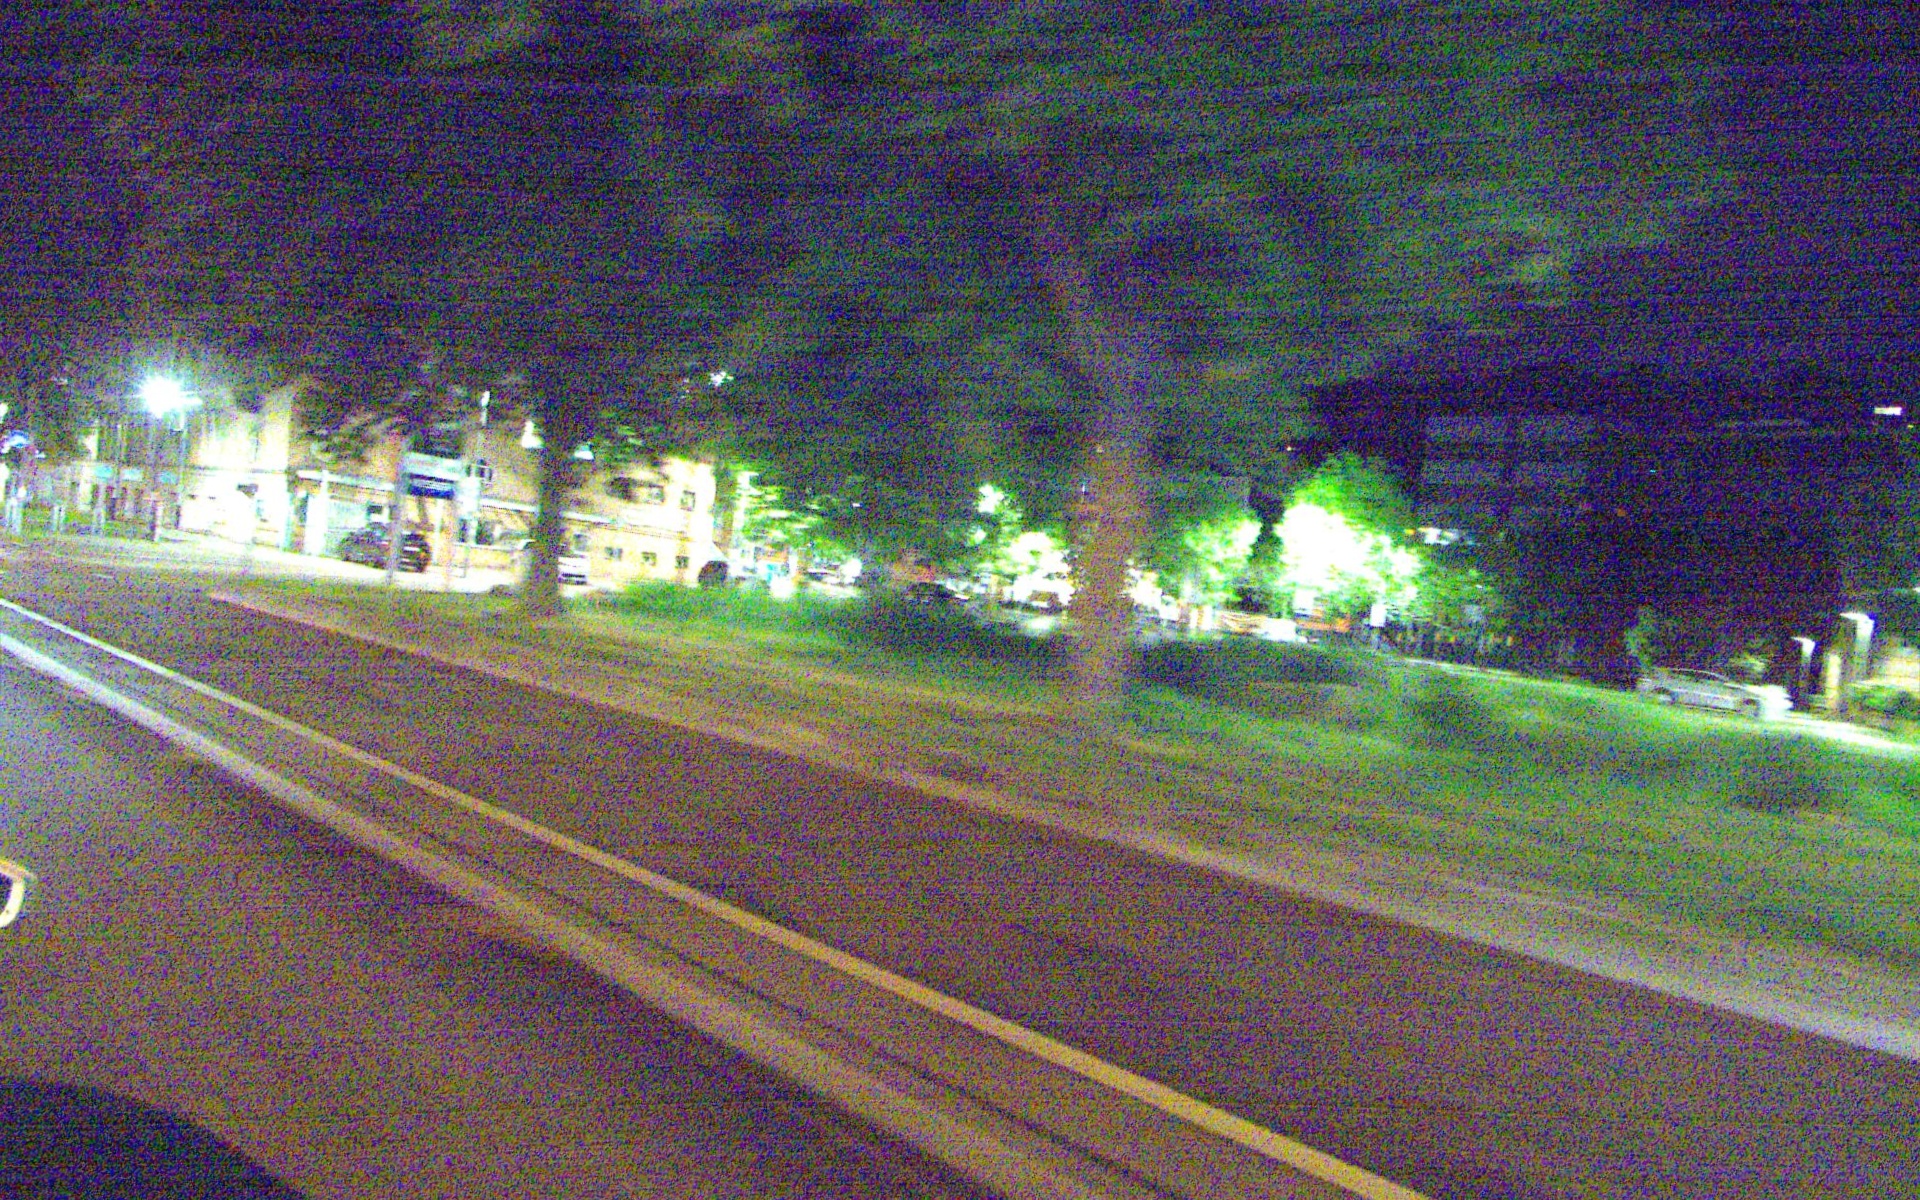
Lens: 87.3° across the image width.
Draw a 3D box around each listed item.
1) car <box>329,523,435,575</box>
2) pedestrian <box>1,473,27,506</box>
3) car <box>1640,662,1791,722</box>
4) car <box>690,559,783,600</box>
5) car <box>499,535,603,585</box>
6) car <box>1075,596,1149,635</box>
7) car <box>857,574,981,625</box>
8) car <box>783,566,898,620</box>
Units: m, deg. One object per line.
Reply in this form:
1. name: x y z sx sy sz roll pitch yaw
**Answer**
1. car: -20.474 -1.830 35.565 4.412 1.413 1.512 7 1 36
2. pedestrian: -56.683 -6.628 60.278 0.893 1.792 0.900 8 3 36
3. car: 27.825 3.337 37.212 4.234 1.528 1.992 7 2 36
4. car: -10.717 -0.993 48.119 4.174 1.447 1.993 7 1 36
5. car: -16.429 -1.594 40.378 3.934 1.553 1.783 7 1 32
6. car: 8.693 0.909 57.144 2.048 1.788 4.533 7 1 38
7. car: -1.720 -0.041 41.330 4.815 1.532 1.888 7 1 35
8. car: -4.463 -0.268 37.417 4.035 1.553 1.767 7 1 37
